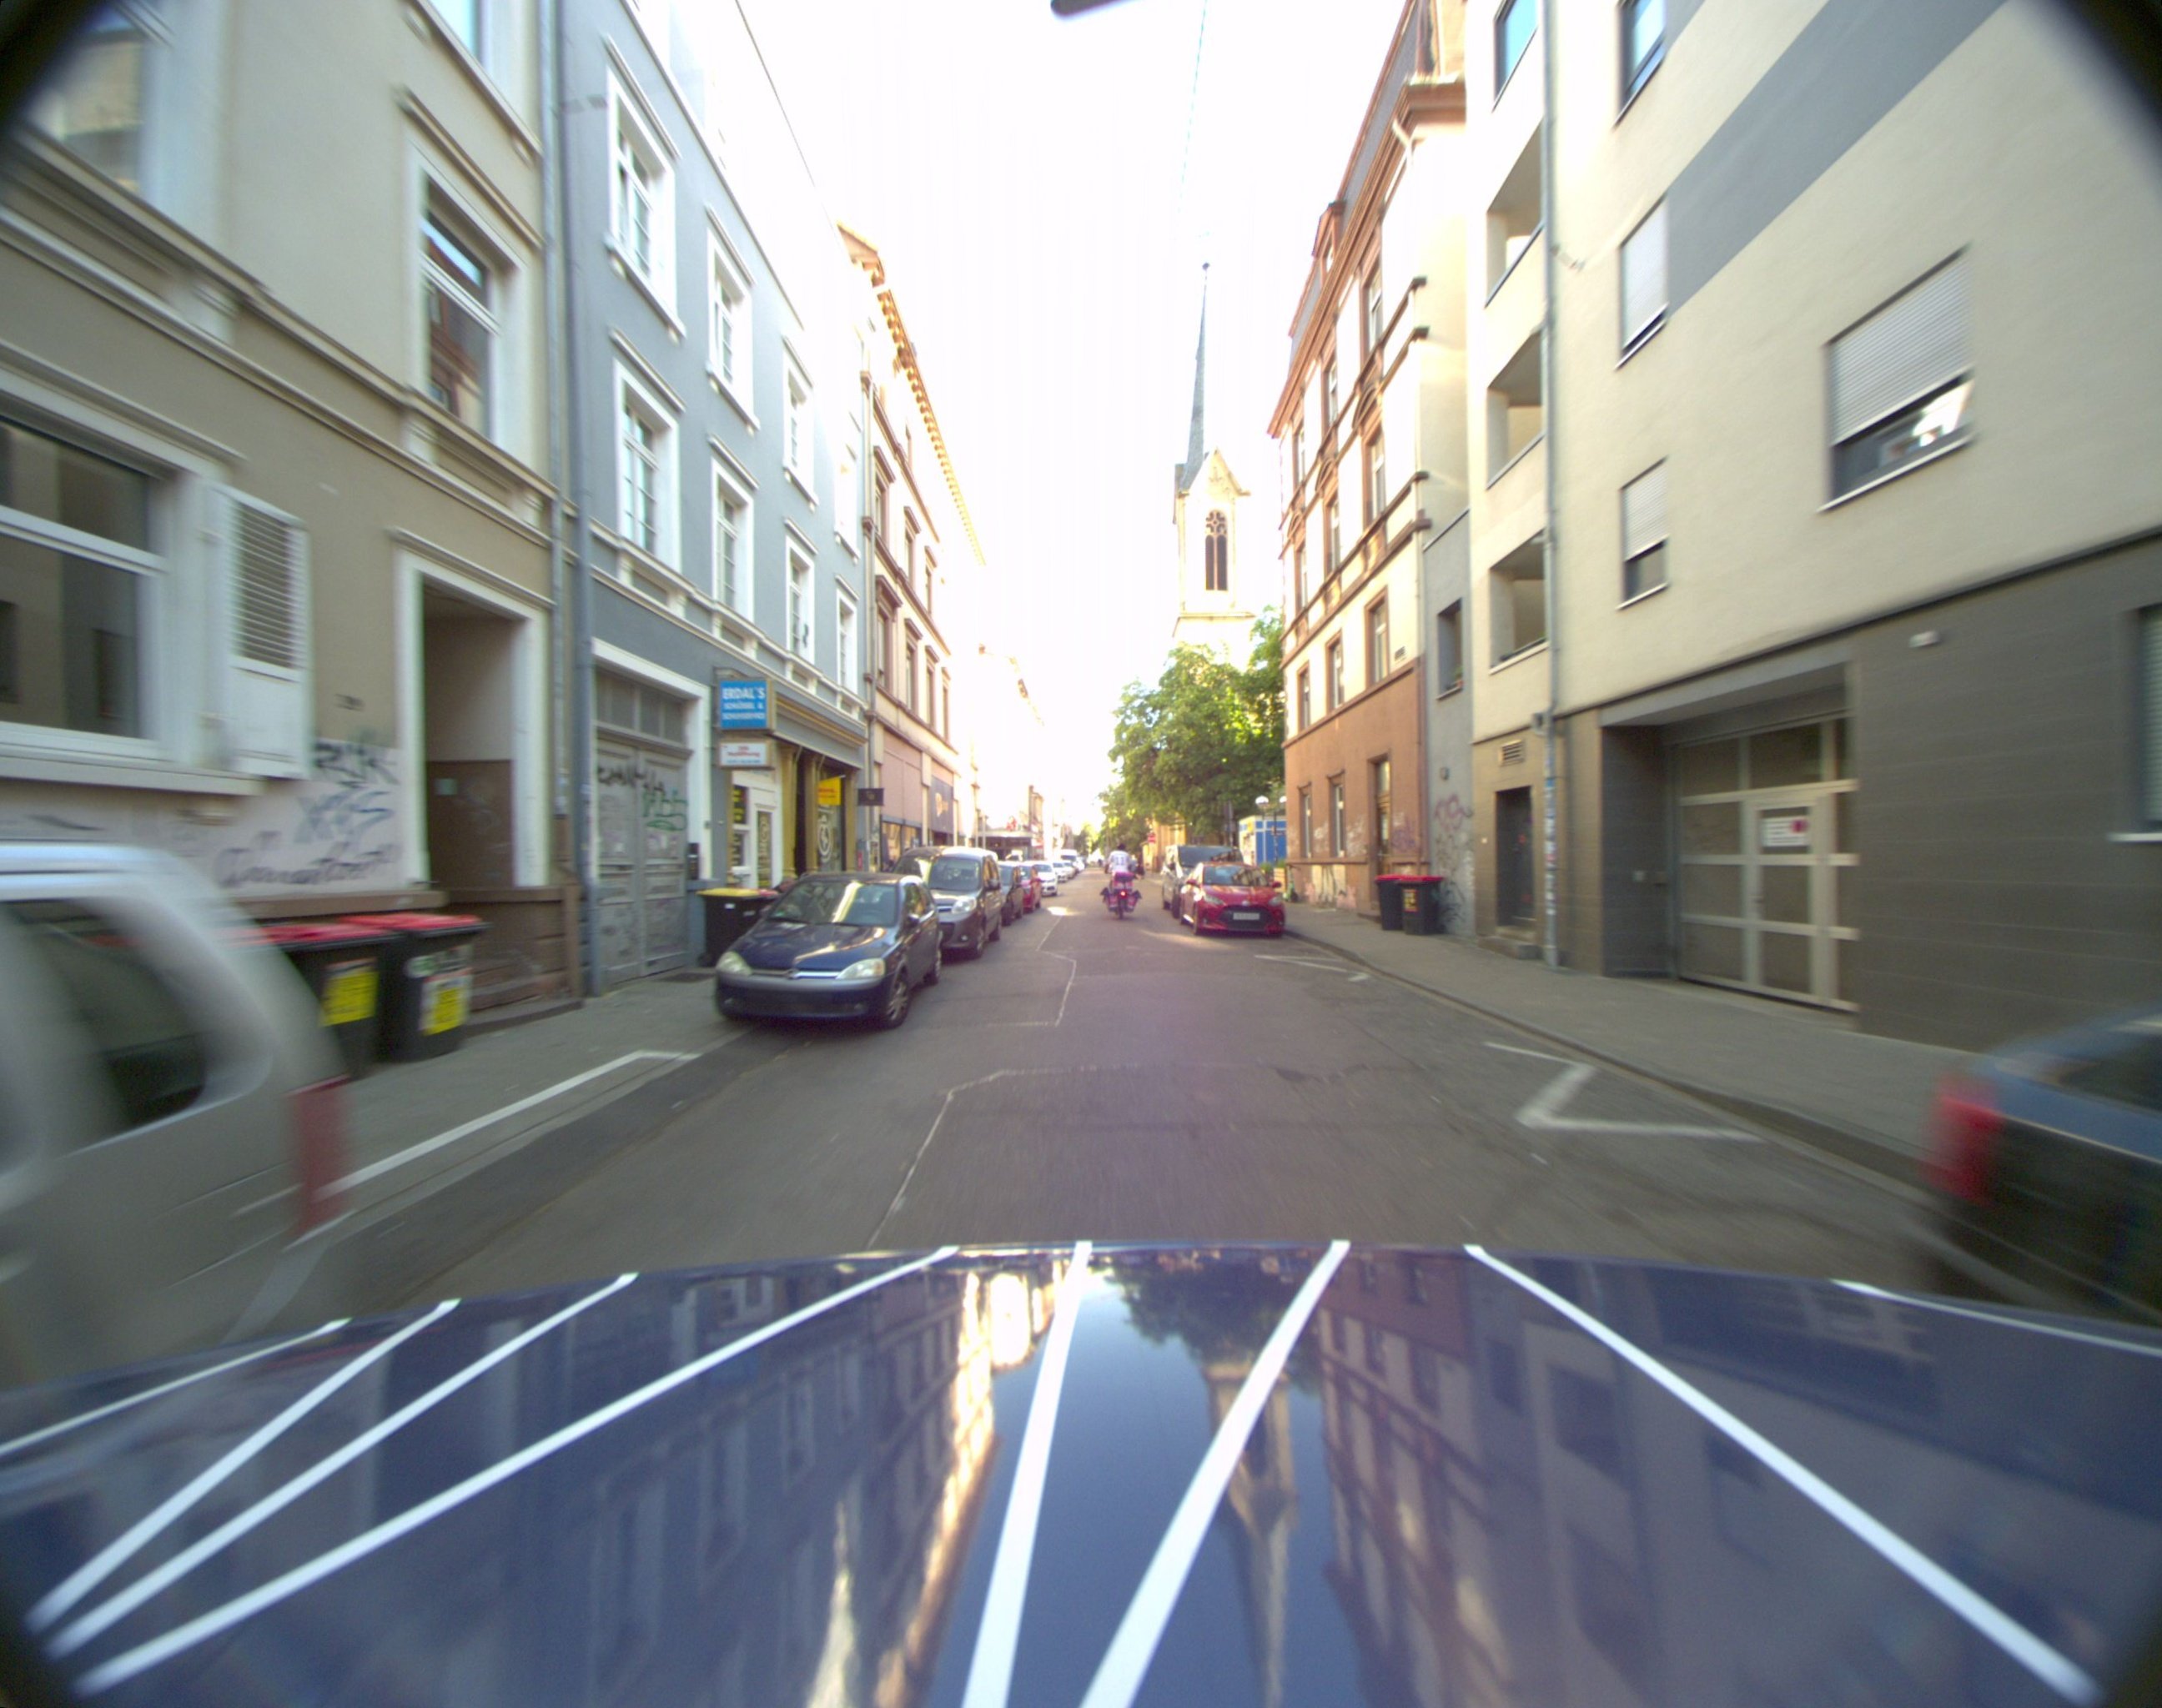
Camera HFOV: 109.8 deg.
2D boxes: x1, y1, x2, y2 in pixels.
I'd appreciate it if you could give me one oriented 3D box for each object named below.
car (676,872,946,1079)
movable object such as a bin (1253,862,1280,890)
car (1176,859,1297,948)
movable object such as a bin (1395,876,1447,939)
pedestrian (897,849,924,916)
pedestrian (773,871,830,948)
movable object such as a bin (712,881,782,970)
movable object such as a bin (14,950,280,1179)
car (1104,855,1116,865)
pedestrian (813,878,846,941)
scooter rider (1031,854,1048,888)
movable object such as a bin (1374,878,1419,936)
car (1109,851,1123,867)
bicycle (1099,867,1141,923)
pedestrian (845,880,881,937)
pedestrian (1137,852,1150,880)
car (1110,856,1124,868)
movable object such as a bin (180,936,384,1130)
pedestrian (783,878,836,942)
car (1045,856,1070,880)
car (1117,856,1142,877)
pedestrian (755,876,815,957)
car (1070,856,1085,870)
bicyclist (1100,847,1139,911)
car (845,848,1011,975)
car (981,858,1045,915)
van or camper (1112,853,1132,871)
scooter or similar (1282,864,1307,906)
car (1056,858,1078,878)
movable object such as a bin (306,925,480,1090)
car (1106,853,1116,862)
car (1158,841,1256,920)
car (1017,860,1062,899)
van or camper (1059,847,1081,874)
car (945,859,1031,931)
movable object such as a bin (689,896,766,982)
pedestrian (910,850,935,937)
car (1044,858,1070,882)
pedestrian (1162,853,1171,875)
[{"bbox_3d":[-2.499,1.027,7.948,1.556,1.502,3.611,-2,1,-2],"label":"car"},{"bbox_3d":[7.511,0.902,30.806,0.872,1.080,0.774,-2,1,2],"label":"movable object such as a bin"},{"bbox_3d":[3.115,0.923,15.954,1.755,1.513,3.869,2,1,1],"label":"car"},{"bbox_3d":[6.155,0.958,13.763,0.731,1.060,0.505,-2,1,-30],"label":"movable object such as a bin"},{"bbox_3d":[-4.572,0.751,20.391,0.630,1.730,0.658,-2,1,-12],"label":"pedestrian"},{"bbox_3d":[-4.856,0.957,13.212,0.677,1.269,0.654,-2,1,3],"label":"pedestrian"},{"bbox_3d":[-4.847,1.027,11.049,0.764,1.236,0.580,0,1,-1],"label":"movable object such as a bin"},{"bbox_3d":[-5.040,1.105,4.140,0.754,1.081,0.559,1,1,0],"label":"movable object such as a bin"},{"bbox_3d":[4.916,1.013,127.854,1.777,1.614,4.022,-1,0,0],"label":"car"},{"bbox_3d":[-5.051,1.103,15.285,0.439,1.215,0.514,-2,1,3],"label":"pedestrian"},{"bbox_3d":[-2.149,0.887,39.660,0.610,1.768,0.566,-1,1,41],"label":"scooter rider"},{"bbox_3d":[6.072,1.008,14.651,0.760,1.060,0.652,-2,1,21],"label":"movable object such as a bin"},{"bbox_3d":[4.747,0.701,103.866,1.777,2.128,4.023,-1,0,1],"label":"car"},{"bbox_3d":[0.981,1.021,19.596,0.980,1.306,2.555,0,0,1],"label":"bicycle"},{"bbox_3d":[-4.840,1.189,16.835,0.530,1.215,0.515,-1,1,41],"label":"pedestrian"},{"bbox_3d":[4.186,0.817,50.987,0.718,1.862,0.720,-2,1,1],"label":"pedestrian"},{"bbox_3d":[4.663,0.985,98.454,1.696,1.529,3.813,-1,0,1],"label":"car"},{"bbox_3d":[-5.008,1.098,4.797,0.696,1.081,0.559,1,1,0],"label":"movable object such as a bin"},{"bbox_3d":[-5.003,1.025,14.049,0.677,1.118,0.654,-2,1,3],"label":"pedestrian"},{"bbox_3d":[-1.770,1.022,57.379,1.704,1.640,4.063,-2,1,0],"label":"car"},{"bbox_3d":[3.890,0.951,61.058,1.798,1.543,3.834,-2,1,1],"label":"car"},{"bbox_3d":[-4.862,1.015,12.500,0.677,1.269,0.628,-2,1,3],"label":"pedestrian"},{"bbox_3d":[-0.389,1.115,92.312,1.696,1.615,3.963,-1,0,1],"label":"car"},{"bbox_3d":[0.983,0.638,19.733,0.952,1.618,0.953,1,0,1],"label":"bicyclist"},{"bbox_3d":[-2.423,0.828,13.213,1.904,1.783,4.314,-2,1,1],"label":"car"},{"bbox_3d":[-2.059,0.968,23.888,1.610,1.563,3.553,-2,1,1],"label":"car"},{"bbox_3d":[4.456,0.847,82.813,1.984,1.939,4.563,-1,0,1],"label":"van or camper"},{"bbox_3d":[6.534,0.921,23.275,0.348,1.209,1.391,-2,1,1],"label":"scooter or similar"},{"bbox_3d":[-1.135,1.122,62.577,1.558,1.517,4.201,-2,1,1],"label":"car"},{"bbox_3d":[-5.033,1.096,5.595,0.696,1.081,0.632,1,0,0],"label":"movable object such as a bin"},{"bbox_3d":[5.443,0.689,138.348,1.777,1.614,4.022,-1,0,0],"label":"car"},{"bbox_3d":[3.361,0.673,21.348,2.025,1.868,5.298,-2,0,2],"label":"car"},{"bbox_3d":[-1.782,1.067,33.616,1.791,1.507,4.135,-2,1,-1],"label":"car"},{"bbox_3d":[-1.084,0.613,78.504,1.998,2.617,5.979,-2,1,1],"label":"van or camper"},{"bbox_3d":[-2.274,0.970,19.394,1.573,1.548,3.314,2,1,3],"label":"car"},{"bbox_3d":[-4.830,1.145,10.412,0.727,1.085,0.685,0,0,-1],"label":"movable object such as a bin"},{"bbox_3d":[-3.240,0.788,15.498,0.428,1.730,0.562,-2,1,-14],"label":"pedestrian"},{"bbox_3d":[-1.635,1.076,52.260,1.694,1.454,3.640,-2,1,-2],"label":"car"},{"bbox_3d":[6.074,0.701,53.894,0.480,1.584,0.714,-2,1,-2],"label":"pedestrian"}]
